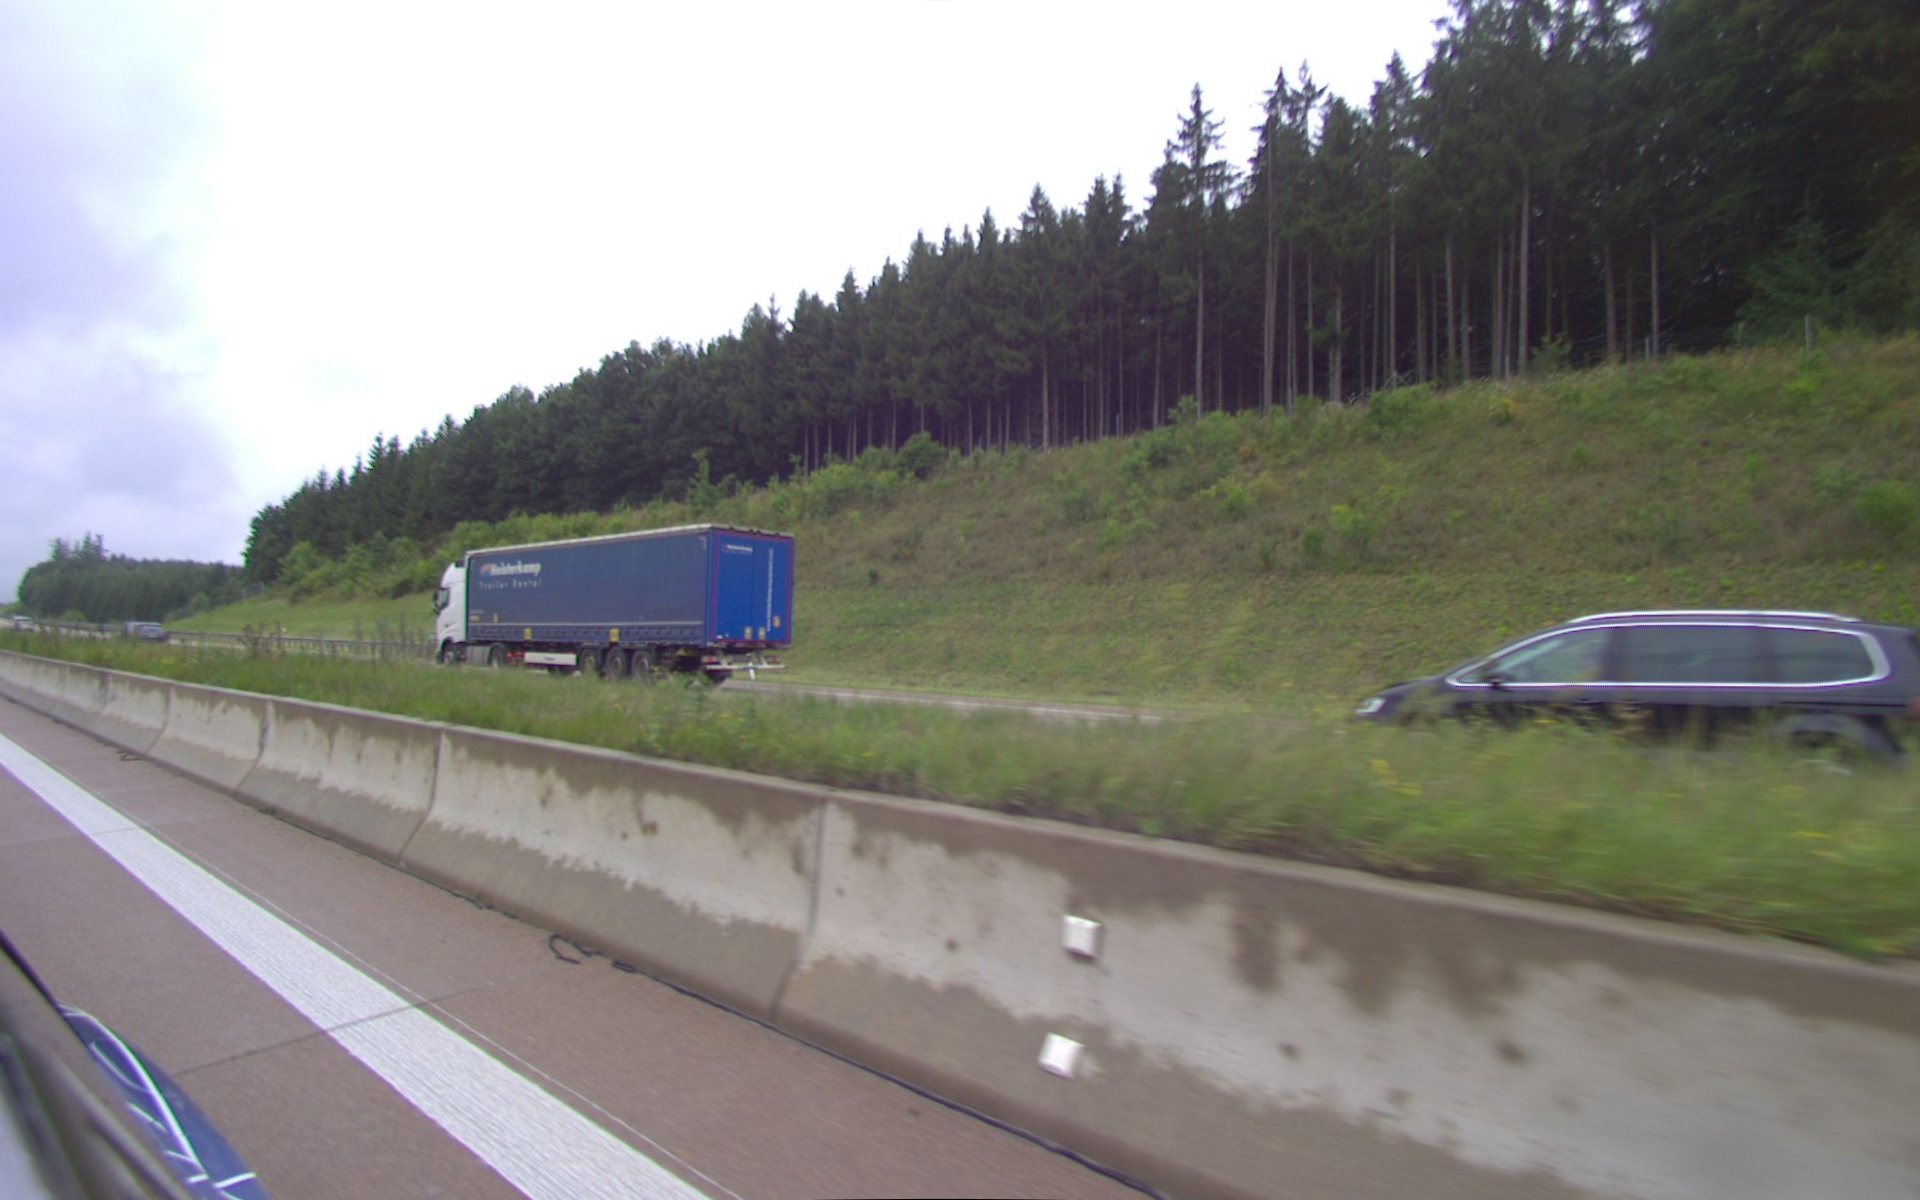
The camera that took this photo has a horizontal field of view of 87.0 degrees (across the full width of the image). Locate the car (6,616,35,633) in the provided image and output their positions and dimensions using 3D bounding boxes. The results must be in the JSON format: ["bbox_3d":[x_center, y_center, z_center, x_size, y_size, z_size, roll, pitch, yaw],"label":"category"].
[{"bbox_3d":[-99.910,2.566,107.643,4.950,1.736,1.794,0,-2,42],"label":"car"}]

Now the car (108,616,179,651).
[{"bbox_3d":[-44.696,1.781,55.326,6.382,1.705,2.027,0,0,42],"label":"car"}]

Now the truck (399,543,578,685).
[{"bbox_3d":[-16.436,0.473,35.044,7.401,4.423,2.893,-1,-1,42],"label":"truck"}]

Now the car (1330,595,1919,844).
[{"bbox_3d":[6.256,0.910,9.136,5.093,1.780,1.972,-2,-2,42],"label":"car"}]

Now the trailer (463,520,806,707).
[{"bbox_3d":[-9.978,0.390,29.263,13.575,4.372,2.888,0,-2,42],"label":"trailer"}]
